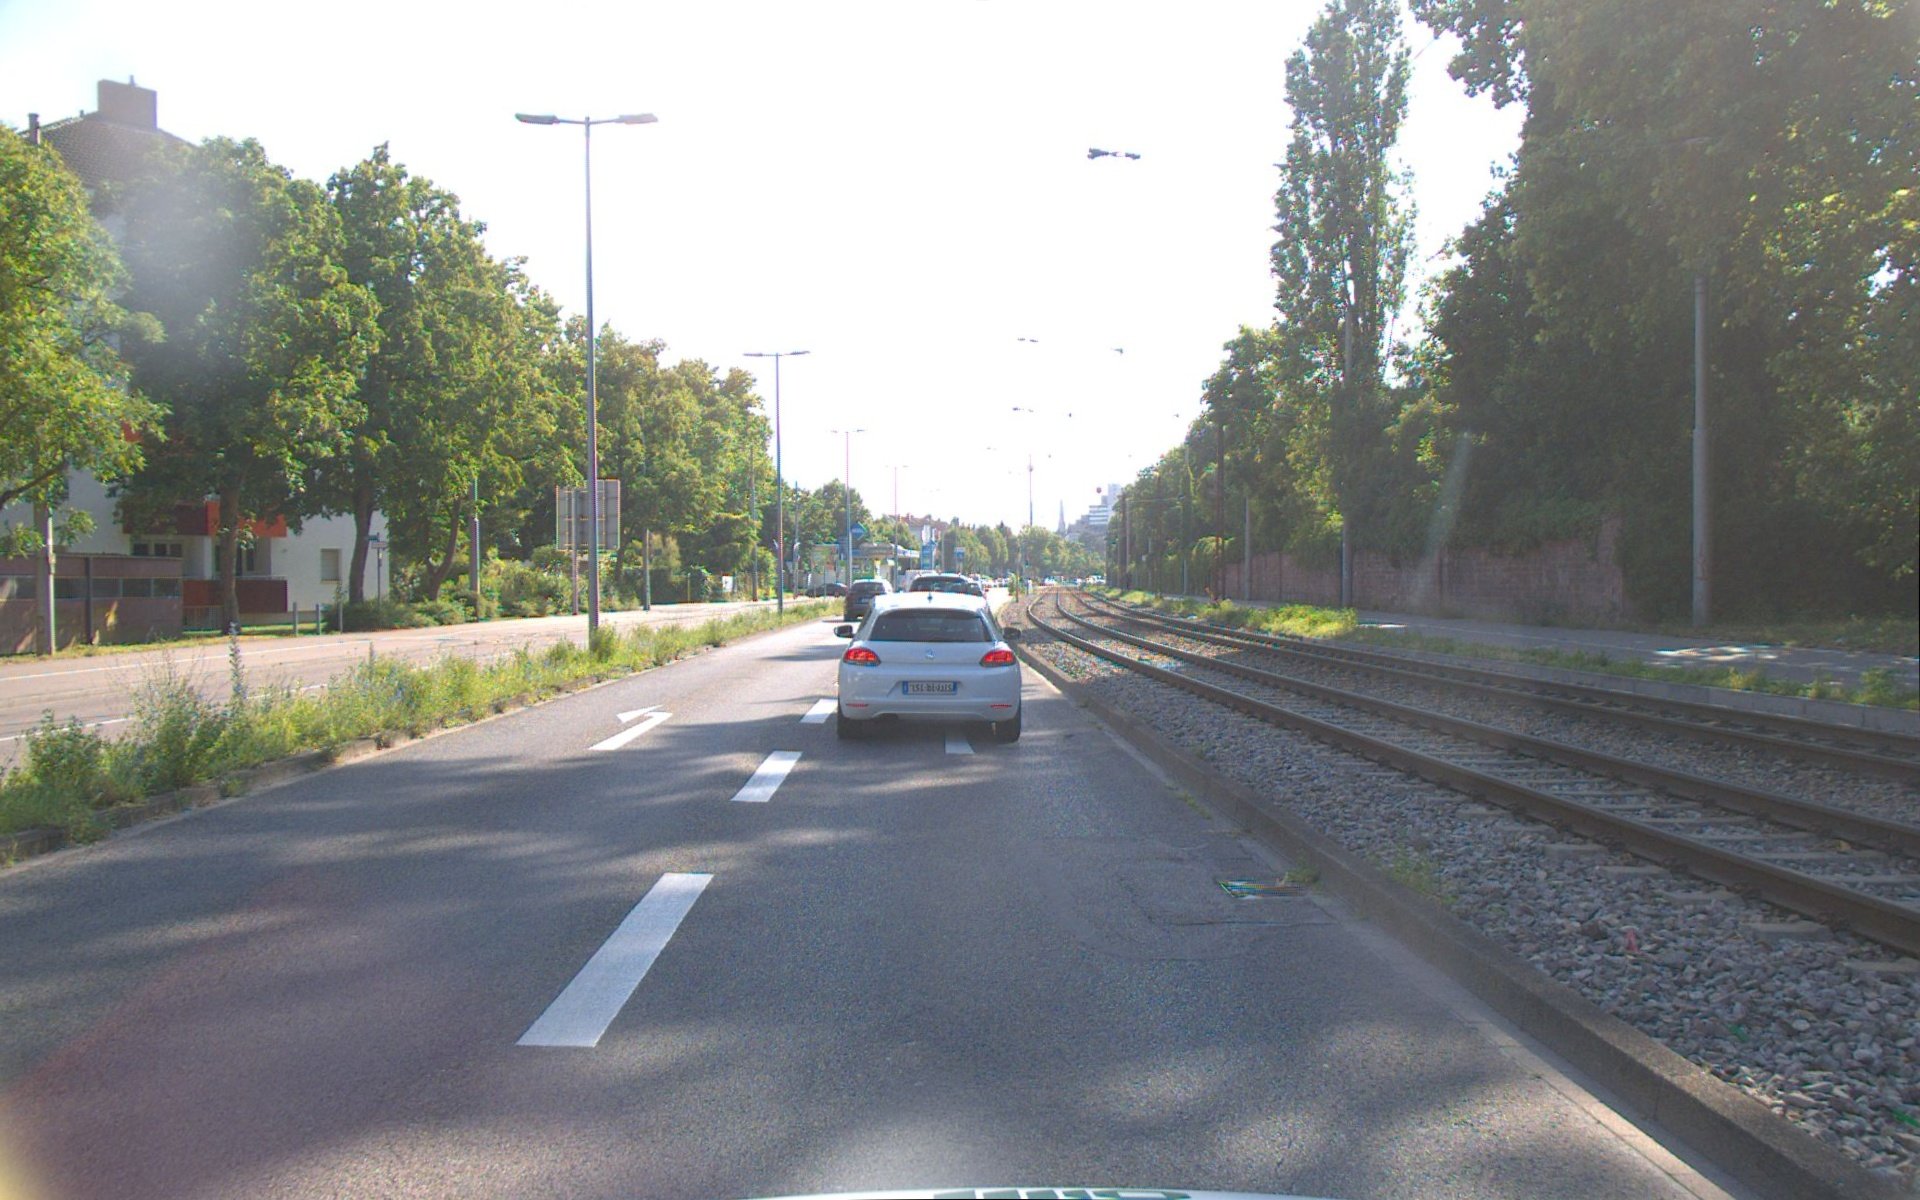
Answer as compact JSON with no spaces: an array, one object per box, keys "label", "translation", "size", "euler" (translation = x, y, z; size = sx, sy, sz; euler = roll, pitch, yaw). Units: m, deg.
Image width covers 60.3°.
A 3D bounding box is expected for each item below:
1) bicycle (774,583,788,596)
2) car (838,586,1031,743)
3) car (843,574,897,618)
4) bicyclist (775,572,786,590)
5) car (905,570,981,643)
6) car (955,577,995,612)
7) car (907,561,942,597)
[{"label":"bicycle","translation":[-15.425,-0.889,142.371],"size":[0.647,1.067,2.582],"euler":[-1,1,7]},{"label":"car","translation":[-0.239,0.573,16.947],"size":[1.744,1.380,3.601],"euler":[1,1,0]},{"label":"car","translation":[-3.243,-0.188,60.228],"size":[1.724,1.511,4.645],"euler":[1,1,0]},{"label":"bicyclist","translation":[-15.439,-1.640,142.372],"size":[0.647,1.478,1.052],"euler":[-1,0,7]},{"label":"car","translation":[-0.388,0.111,38.995],"size":[1.689,1.620,3.601],"euler":[1,1,0]},{"label":"car","translation":[0.660,-0.268,75.373],"size":[1.713,1.511,3.601],"euler":[1,1,0]},{"label":"car","translation":[-2.020,-1.224,95.728],"size":[1.780,1.997,4.404],"euler":[-1,0,2]}]
